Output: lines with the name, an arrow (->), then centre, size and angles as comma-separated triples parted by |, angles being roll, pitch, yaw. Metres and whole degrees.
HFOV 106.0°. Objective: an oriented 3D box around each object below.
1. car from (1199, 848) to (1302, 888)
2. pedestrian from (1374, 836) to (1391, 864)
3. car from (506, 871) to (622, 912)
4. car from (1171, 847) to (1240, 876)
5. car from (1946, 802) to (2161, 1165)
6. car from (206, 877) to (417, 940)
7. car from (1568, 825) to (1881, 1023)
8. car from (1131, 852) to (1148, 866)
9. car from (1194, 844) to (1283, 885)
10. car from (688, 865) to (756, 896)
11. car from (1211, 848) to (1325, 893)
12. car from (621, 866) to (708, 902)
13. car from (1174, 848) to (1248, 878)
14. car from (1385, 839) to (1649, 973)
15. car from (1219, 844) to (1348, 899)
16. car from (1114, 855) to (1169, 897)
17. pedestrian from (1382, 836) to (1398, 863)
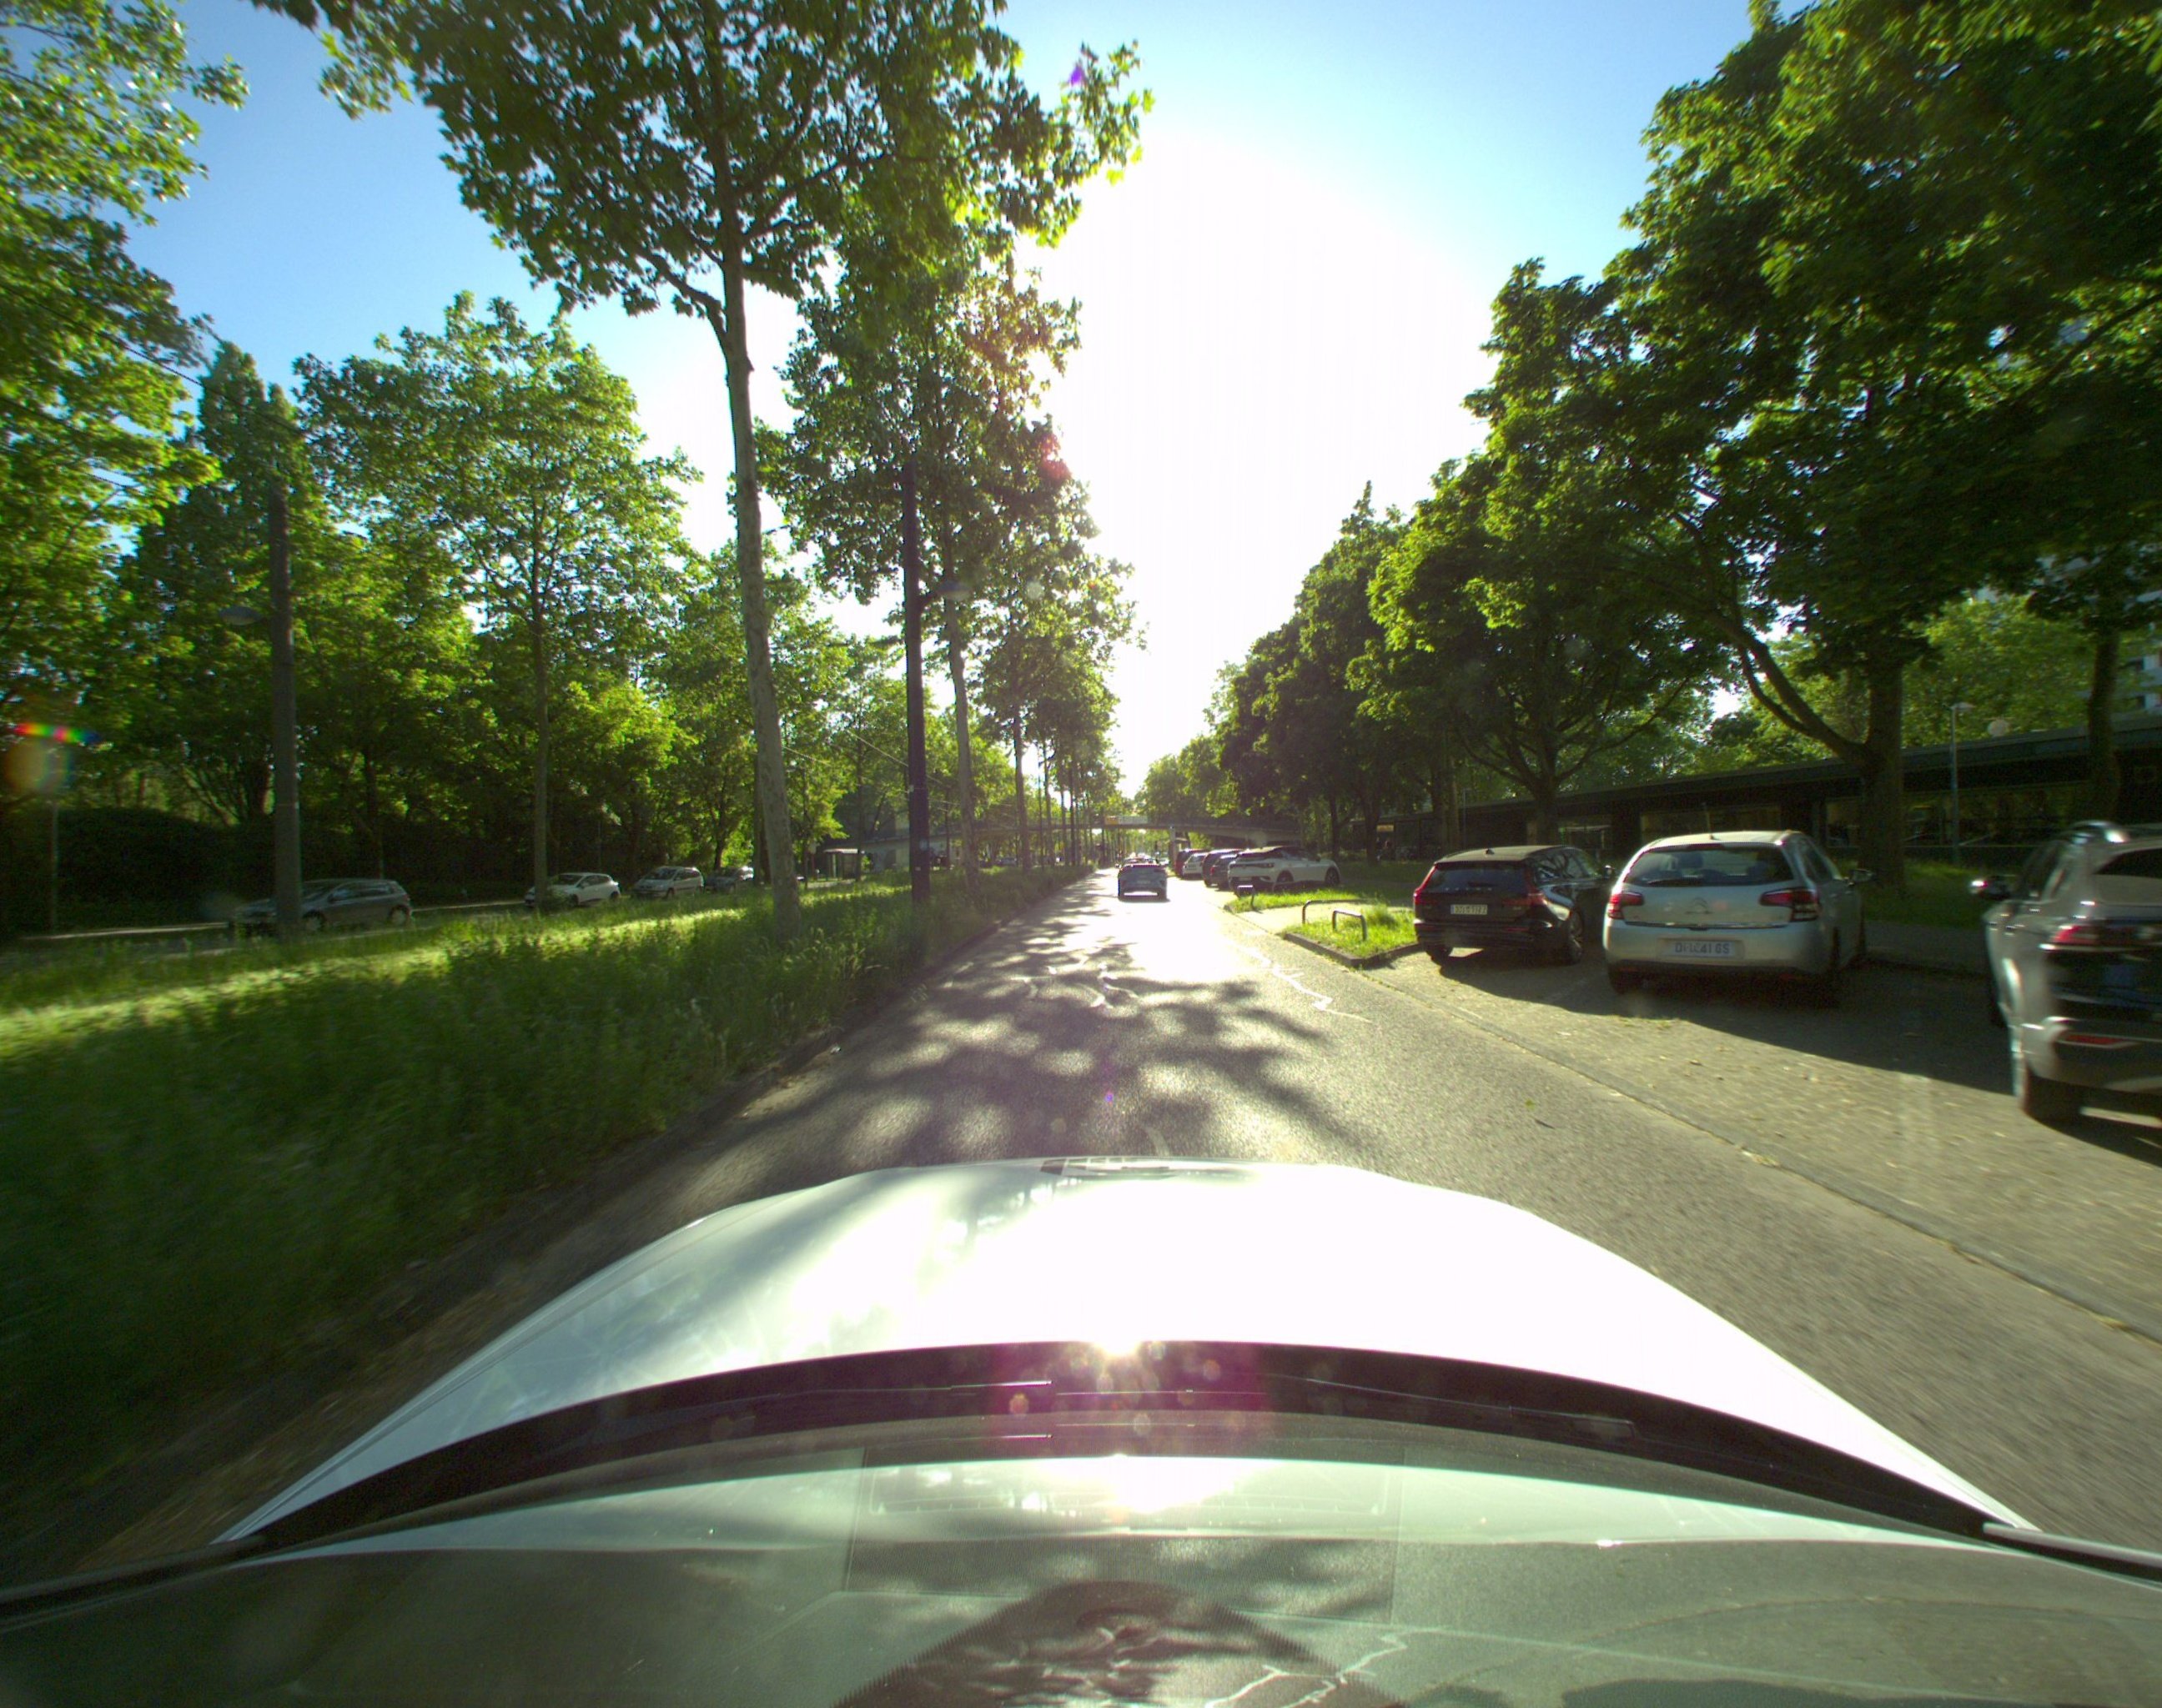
car -> 7.269, 0.567, 34.715 | 4.649, 1.521, 1.835 | -2, 0, -41
pedestrian -> 22.014, -0.311, 59.453 | 0.826, 2.013, 0.742 | -2, 0, -39
car -> -21.044, 1.491, 33.339 | 1.985, 1.453, 4.004 | 1, 0, 4
car -> 8.006, 0.475, 52.135 | 4.649, 1.768, 1.835 | -1, 0, -41
car -> 6.607, 0.474, 4.906 | 4.651, 1.570, 1.834 | -3, 0, -43
car -> -21.431, 1.452, 22.947 | 1.985, 1.453, 4.004 | 1, 0, 4
car -> 7.063, 0.526, 8.730 | 4.650, 1.570, 1.834 | -2, 0, -42
car -> 7.073, 0.631, 98.798 | 1.985, 1.651, 4.003 | -1, 0, 2
car -> 7.525, 0.476, 38.598 | 1.833, 1.680, 4.638 | -5, -2, 43
car -> -20.299, 1.451, 46.257 | 1.779, 1.590, 4.172 | 1, 0, 4
car -> 7.204, 0.581, 31.149 | 4.649, 1.570, 1.835 | -1, 0, -41
car -> -20.743, 1.442, 40.766 | 1.985, 1.590, 4.172 | 1, 0, 4
car -> 7.854, 0.521, 48.860 | 4.649, 1.680, 1.835 | -1, 0, -41
car -> 6.300, 0.577, 11.493 | 4.651, 1.459, 1.955 | -2, 0, -44
car -> 6.832, 0.541, 27.186 | 4.649, 1.680, 1.835 | -1, 0, -41
car -> 2.227, 0.783, 30.503 | 1.914, 1.411, 4.003 | -1, 0, 3
pedestrian -> 23.153, -0.335, 61.080 | 0.826, 2.013, 0.742 | -2, 0, -39
